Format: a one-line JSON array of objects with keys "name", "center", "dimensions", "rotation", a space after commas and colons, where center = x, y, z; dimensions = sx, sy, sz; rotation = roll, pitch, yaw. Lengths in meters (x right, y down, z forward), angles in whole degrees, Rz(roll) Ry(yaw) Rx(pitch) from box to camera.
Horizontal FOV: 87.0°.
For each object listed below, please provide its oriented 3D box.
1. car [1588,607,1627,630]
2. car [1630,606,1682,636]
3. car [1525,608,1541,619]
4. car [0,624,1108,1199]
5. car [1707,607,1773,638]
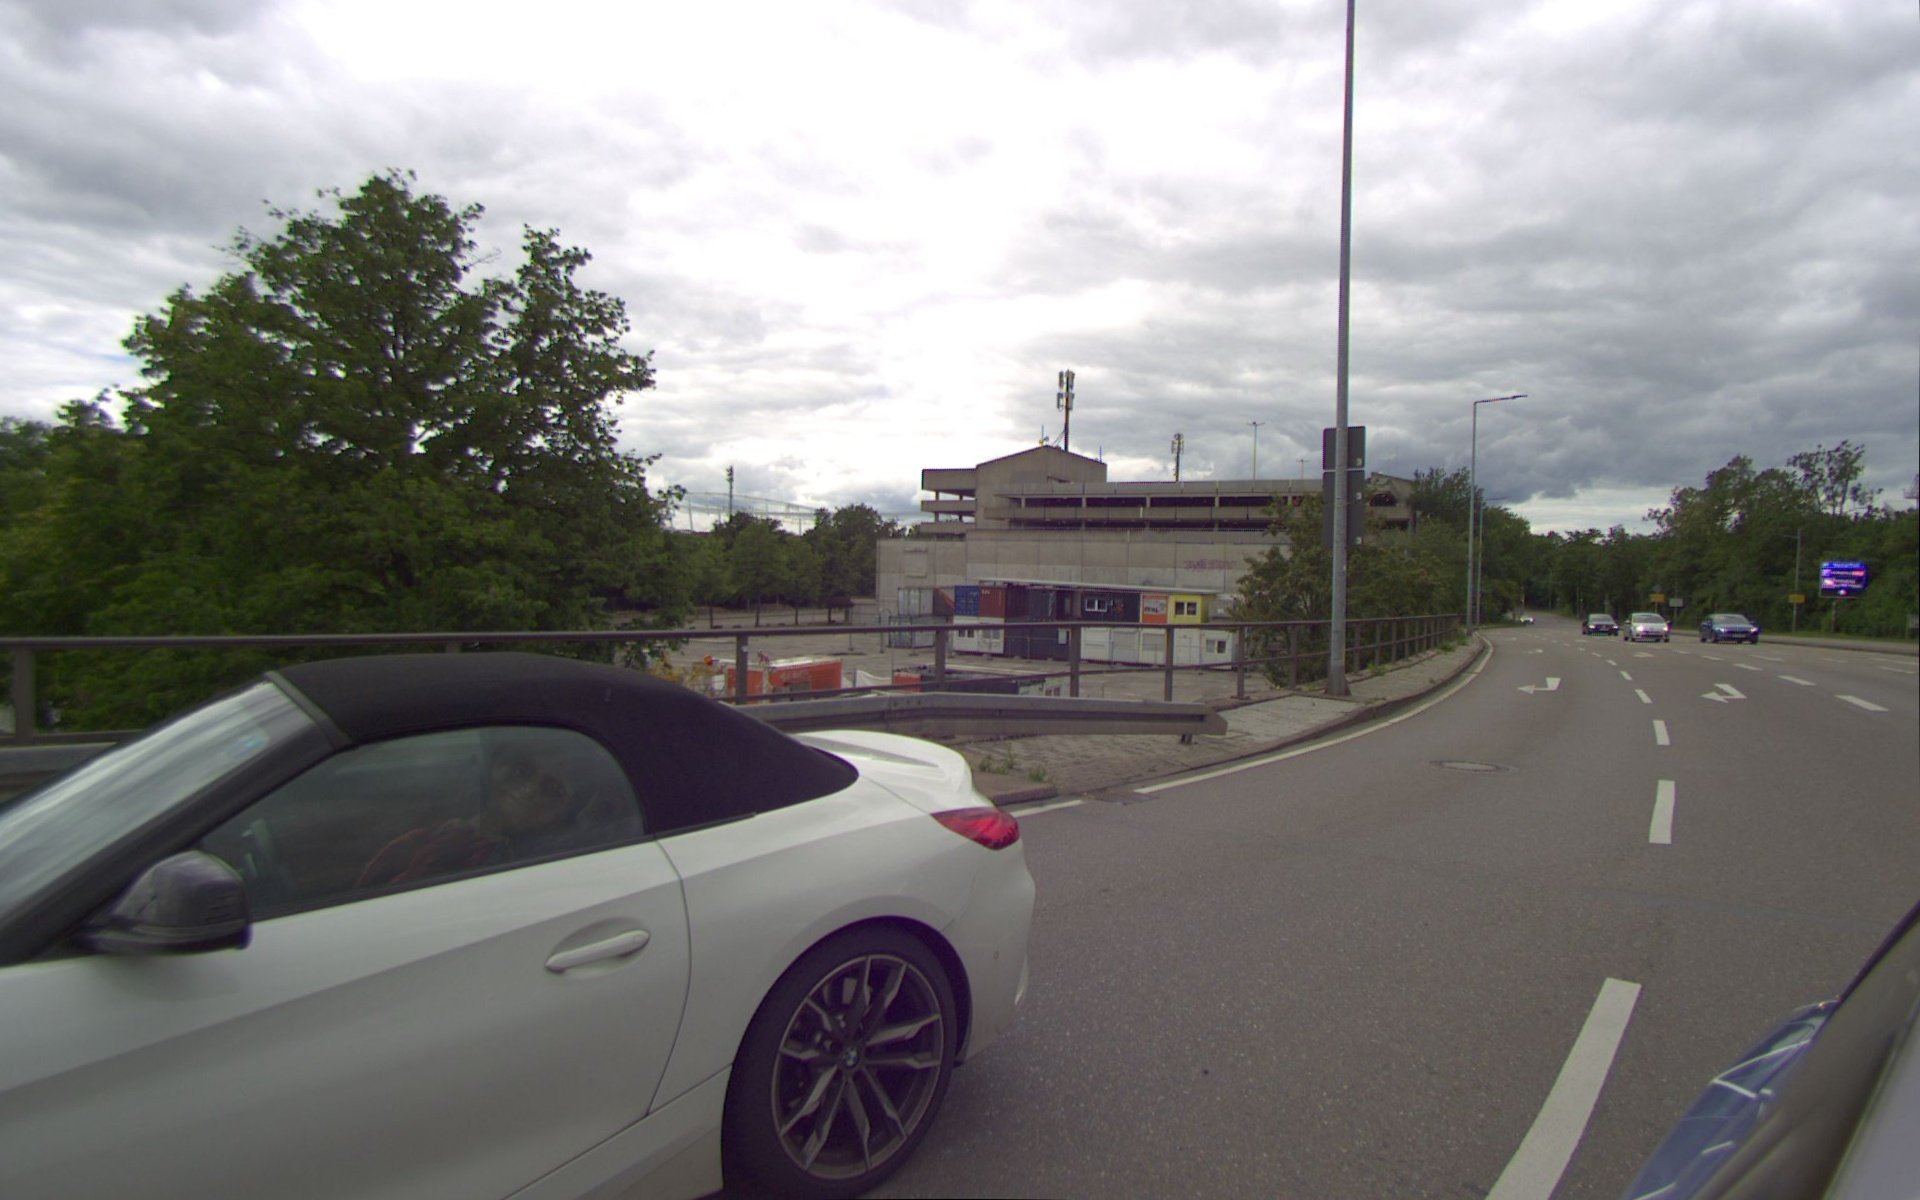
[{"name": "car", "center": [43.366, 1.235, 67.804], "dimensions": [1.849, 1.434, 4.295], "rotation": [1, 0, 28]}, {"name": "car", "center": [35.188, 1.042, 51.250], "dimensions": [1.593, 1.434, 3.560], "rotation": [1, 0, 25]}, {"name": "car", "center": [83.912, 1.951, 148.224], "dimensions": [1.848, 1.434, 4.297], "rotation": [1, 0, 27]}, {"name": "car", "center": [-1.743, 0.761, 2.400], "dimensions": [4.186, 1.308, 1.809], "rotation": [0, 0, -39]}, {"name": "car", "center": [38.602, 1.076, 50.185], "dimensions": [1.826, 1.434, 4.535], "rotation": [1, 0, 28]}]
